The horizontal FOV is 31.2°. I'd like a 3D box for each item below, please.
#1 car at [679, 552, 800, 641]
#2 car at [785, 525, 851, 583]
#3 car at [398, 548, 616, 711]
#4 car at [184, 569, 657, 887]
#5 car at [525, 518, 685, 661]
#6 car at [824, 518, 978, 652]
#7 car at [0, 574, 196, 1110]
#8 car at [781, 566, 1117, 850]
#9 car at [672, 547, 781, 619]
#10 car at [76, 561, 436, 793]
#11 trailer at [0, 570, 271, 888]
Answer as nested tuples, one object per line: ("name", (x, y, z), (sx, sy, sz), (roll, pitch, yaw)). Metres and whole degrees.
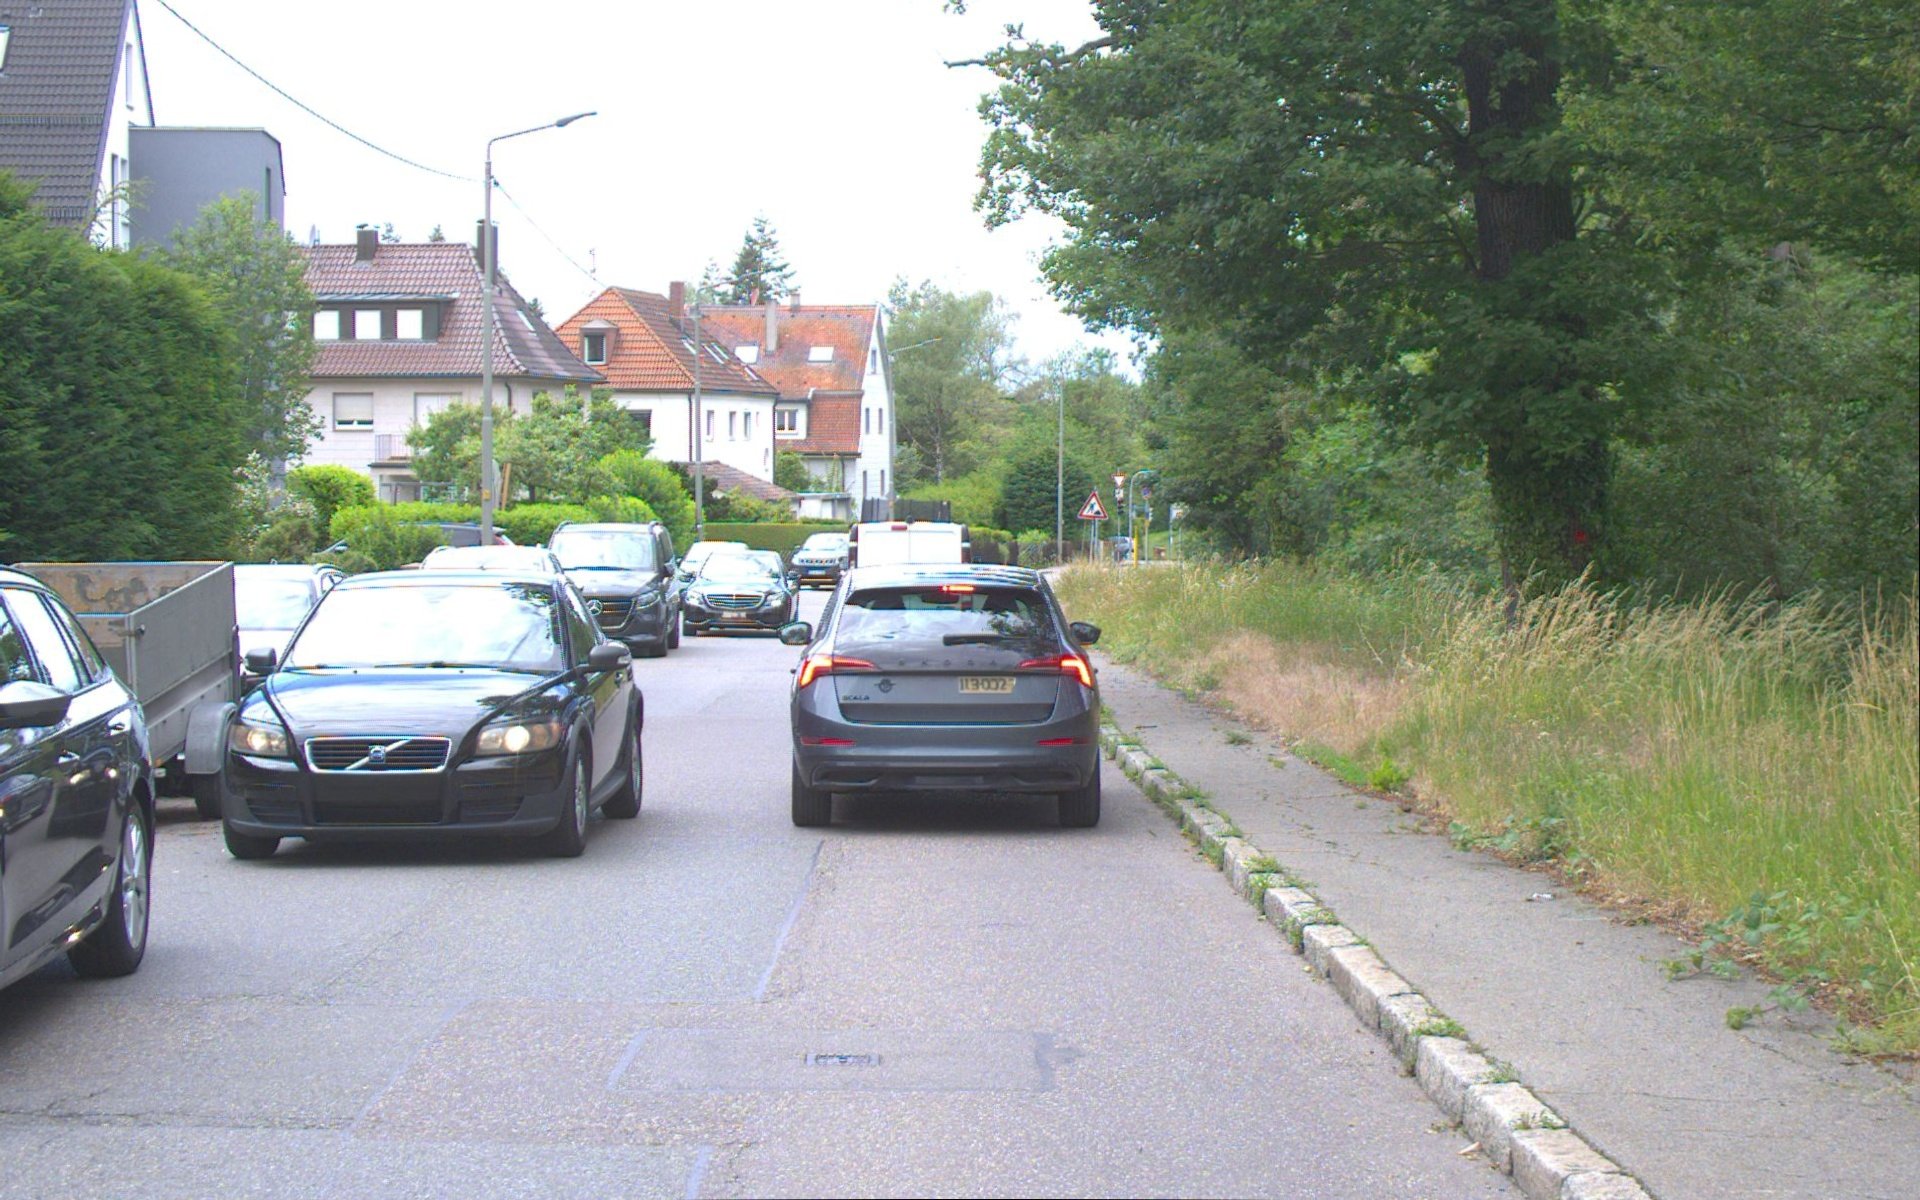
("car", (-3.726, -0.085, 58.764), (1.863, 1.409, 4.592), (1, 1, -1))
("car", (-4.130, -1.356, 100.530), (1.833, 1.591, 4.324), (1, 2, -1))
("car", (-4.912, 0.279, 37.801), (1.838, 1.643, 4.186), (-1, 1, 0))
("car", (-2.718, 0.577, 18.301), (1.763, 1.441, 4.474), (0, 1, 1))
("car", (-5.054, -0.184, 49.562), (1.863, 1.919, 5.038), (1, 1, -1))
("car", (-0.948, -0.265, 52.345), (2.071, 1.915, 4.923), (1, 1, -4))
("car", (-3.602, 0.666, 10.595), (1.763, 1.441, 4.474), (0, 1, -4))
("car", (-0.168, 0.557, 20.445), (1.727, 1.434, 4.324), (1, 1, -3))
("car", (-5.063, -0.394, 74.998), (1.784, 1.495, 4.014), (1, 1, 4))
("car", (-5.080, 0.490, 25.381), (1.763, 1.494, 4.474), (-2, 1, -1))
("trailer", (-5.102, 0.607, 18.767), (1.763, 1.491, 4.474), (0, 1, 0))
